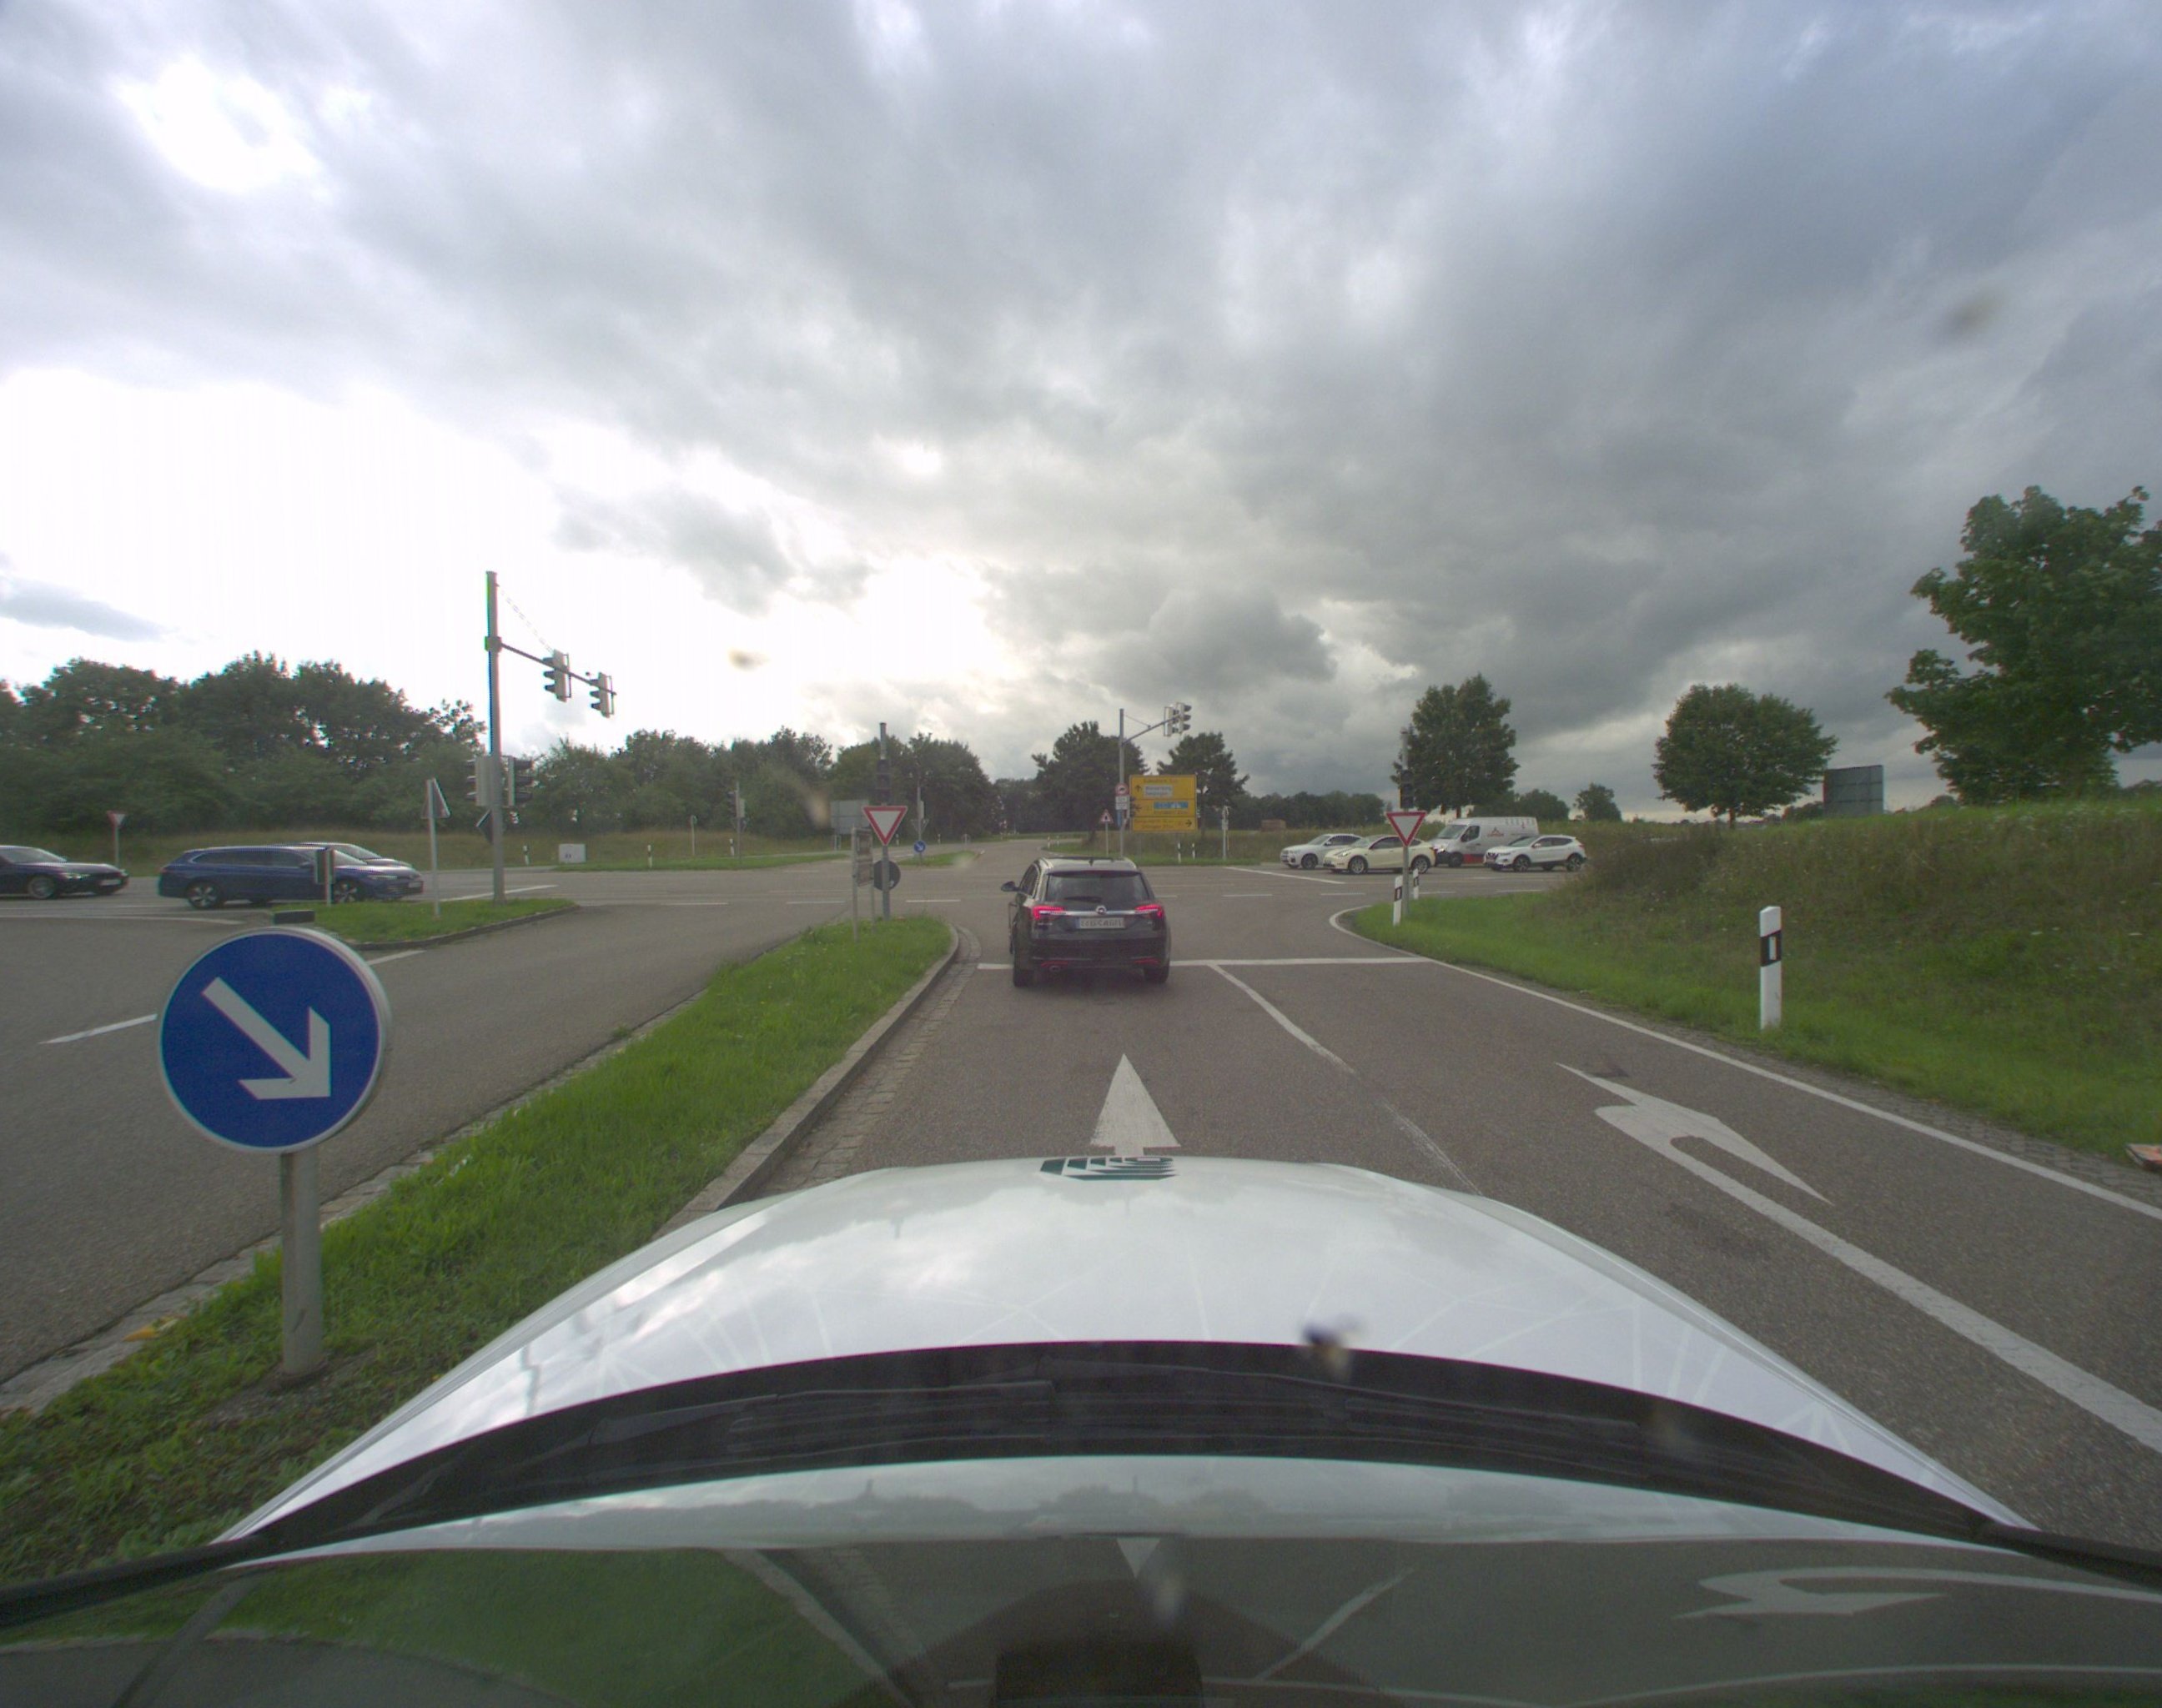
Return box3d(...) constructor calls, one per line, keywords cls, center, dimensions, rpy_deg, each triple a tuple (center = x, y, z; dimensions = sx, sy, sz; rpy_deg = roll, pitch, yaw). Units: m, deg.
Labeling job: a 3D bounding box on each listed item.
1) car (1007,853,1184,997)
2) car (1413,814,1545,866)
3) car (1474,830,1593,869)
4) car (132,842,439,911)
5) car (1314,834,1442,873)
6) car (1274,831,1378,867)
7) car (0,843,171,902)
box3d(cls="car", center=(-0.026, 0.725, 10.594), dimensions=(1.805, 1.450, 4.264), rpy_deg=(0, 0, -6))
box3d(cls="car", center=(19.495, -0.685, 39.962), dimensions=(5.494, 2.441, 2.390), rpy_deg=(0, 0, -10))
box3d(cls="car", center=(19.931, -0.211, 35.932), dimensions=(4.309, 1.629, 1.993), rpy_deg=(0, 0, -10))
box3d(cls="car", center=(-19.557, 0.506, 20.333), dimensions=(5.115, 1.534, 2.043), rpy_deg=(-1, 2, -13))
box3d(cls="car", center=(12.450, -0.042, 34.288), dimensions=(4.734, 1.564, 1.993), rpy_deg=(-1, 0, -11))
box3d(cls="car", center=(11.408, -0.254, 38.067), dimensions=(4.262, 1.629, 1.993), rpy_deg=(-1, 0, -11))
box3d(cls="car", center=(-28.746, 0.471, 22.228), dimensions=(4.869, 1.483, 2.047), rpy_deg=(0, 3, -12))
